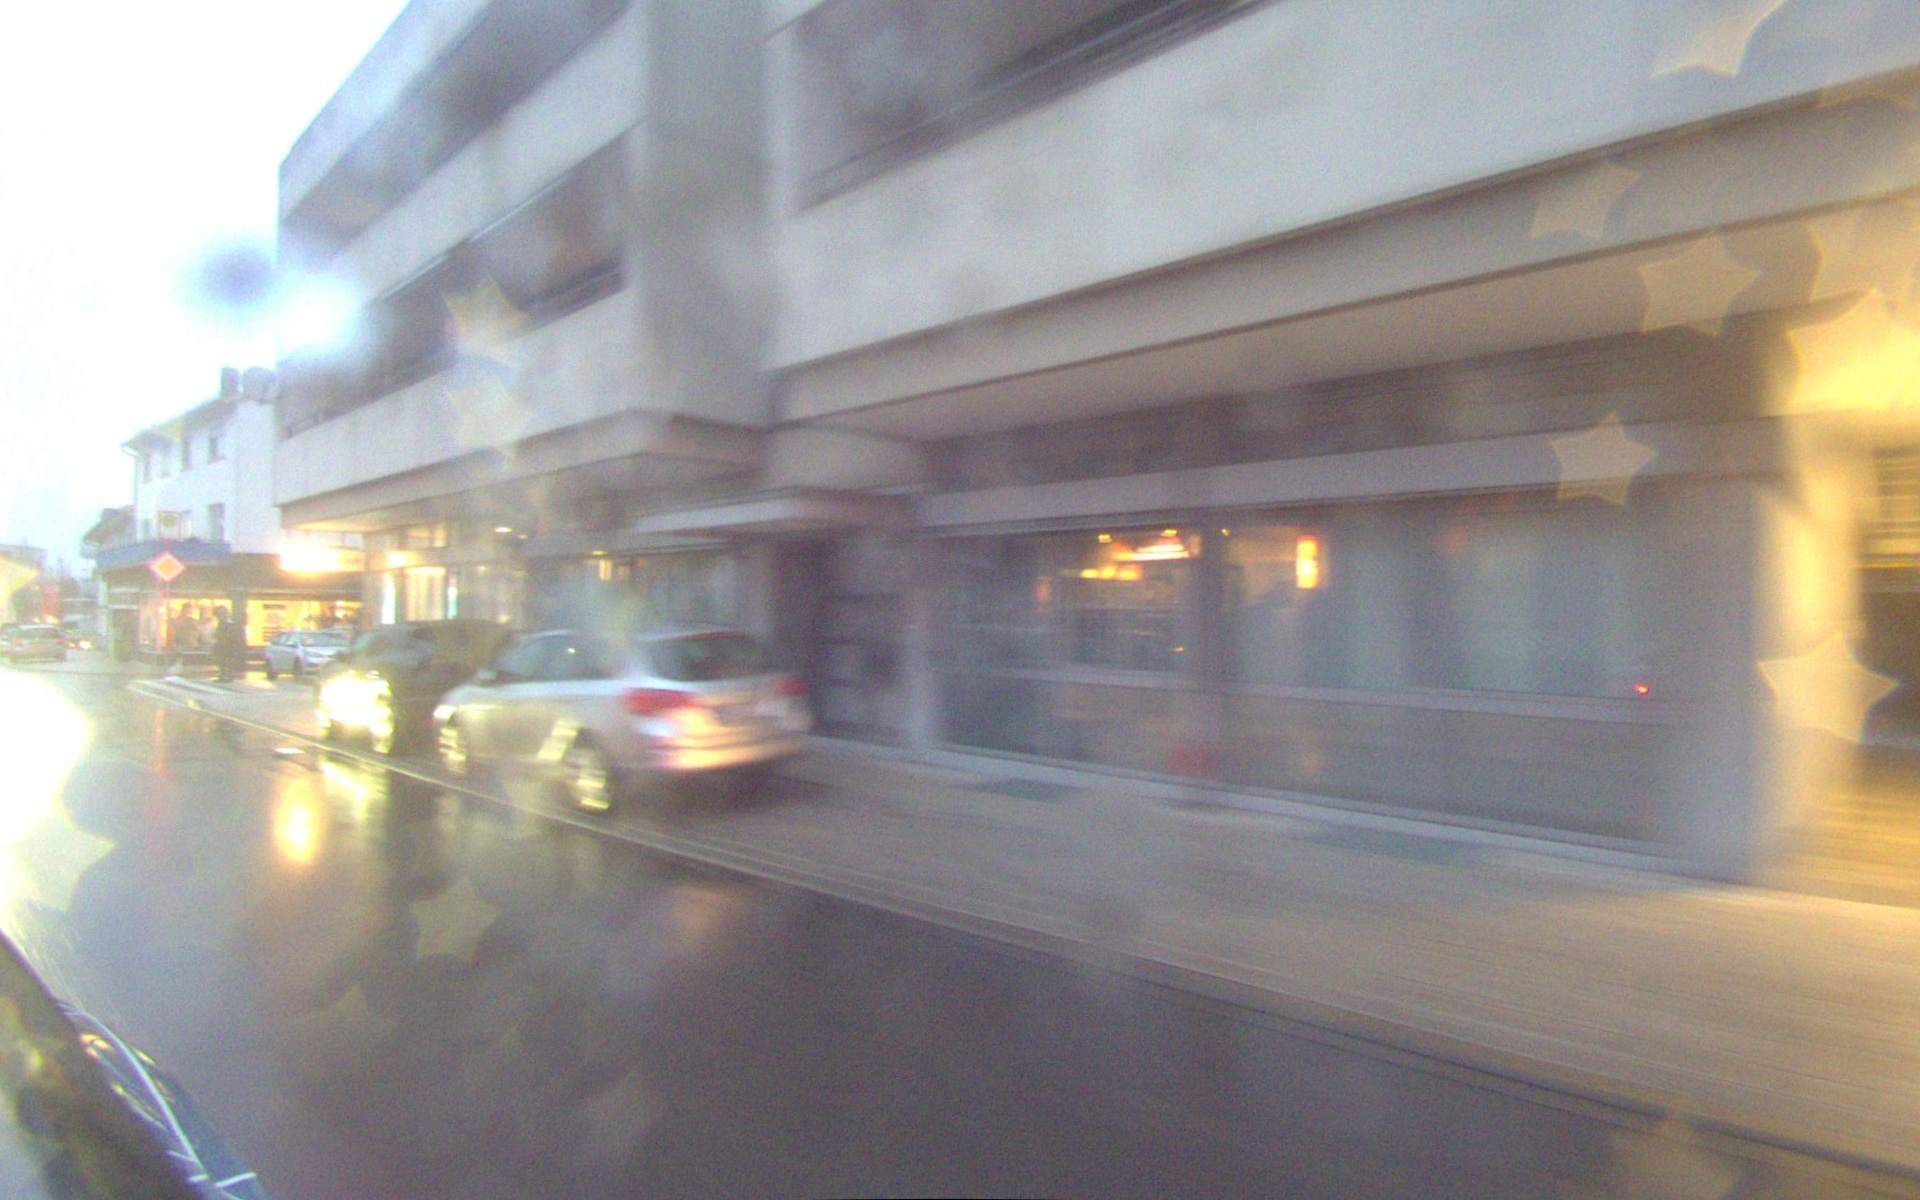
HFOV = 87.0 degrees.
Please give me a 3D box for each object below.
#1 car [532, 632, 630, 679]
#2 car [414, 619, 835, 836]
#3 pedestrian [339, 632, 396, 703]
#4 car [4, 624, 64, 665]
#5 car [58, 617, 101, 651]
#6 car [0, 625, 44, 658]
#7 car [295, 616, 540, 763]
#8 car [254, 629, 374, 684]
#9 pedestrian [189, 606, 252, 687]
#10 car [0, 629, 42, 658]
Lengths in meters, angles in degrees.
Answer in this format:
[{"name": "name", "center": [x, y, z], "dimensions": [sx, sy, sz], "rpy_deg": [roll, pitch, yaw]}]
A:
[{"name": "car", "center": [-13.016, 1.909, 34.628], "dimensions": [1.676, 1.475, 4.456], "rpy_deg": [2, -4, -41]}, {"name": "car", "center": [-3.236, 0.945, 9.211], "dimensions": [4.427, 1.457, 1.657], "rpy_deg": [-1, 1, 42]}, {"name": "pedestrian", "center": [-11.593, 1.300, 19.809], "dimensions": [0.828, 1.320, 0.747], "rpy_deg": [-1, -1, 42]}, {"name": "car", "center": [-40.223, 1.902, 43.935], "dimensions": [3.817, 1.626, 1.701], "rpy_deg": [-2, 0, 45]}, {"name": "car", "center": [-74.940, 2.873, 86.190], "dimensions": [2.013, 2.680, 4.222], "rpy_deg": [-2, -1, -31]}, {"name": "car", "center": [-57.989, 2.537, 62.369], "dimensions": [1.855, 1.914, 4.844], "rpy_deg": [-1, -1, -37]}, {"name": "car", "center": [-6.953, 1.002, 12.790], "dimensions": [3.929, 1.544, 1.597], "rpy_deg": [-1, 0, 44]}, {"name": "car", "center": [-18.982, 1.664, 29.654], "dimensions": [4.447, 1.511, 1.745], "rpy_deg": [-3, -4, 41]}, {"name": "pedestrian", "center": [-18.432, 1.158, 25.225], "dimensions": [1.183, 1.953, 0.978], "rpy_deg": [2, -3, -39]}, {"name": "car", "center": [-51.665, 2.348, 55.508], "dimensions": [1.772, 1.467, 4.401], "rpy_deg": [-1, -1, -41]}]
